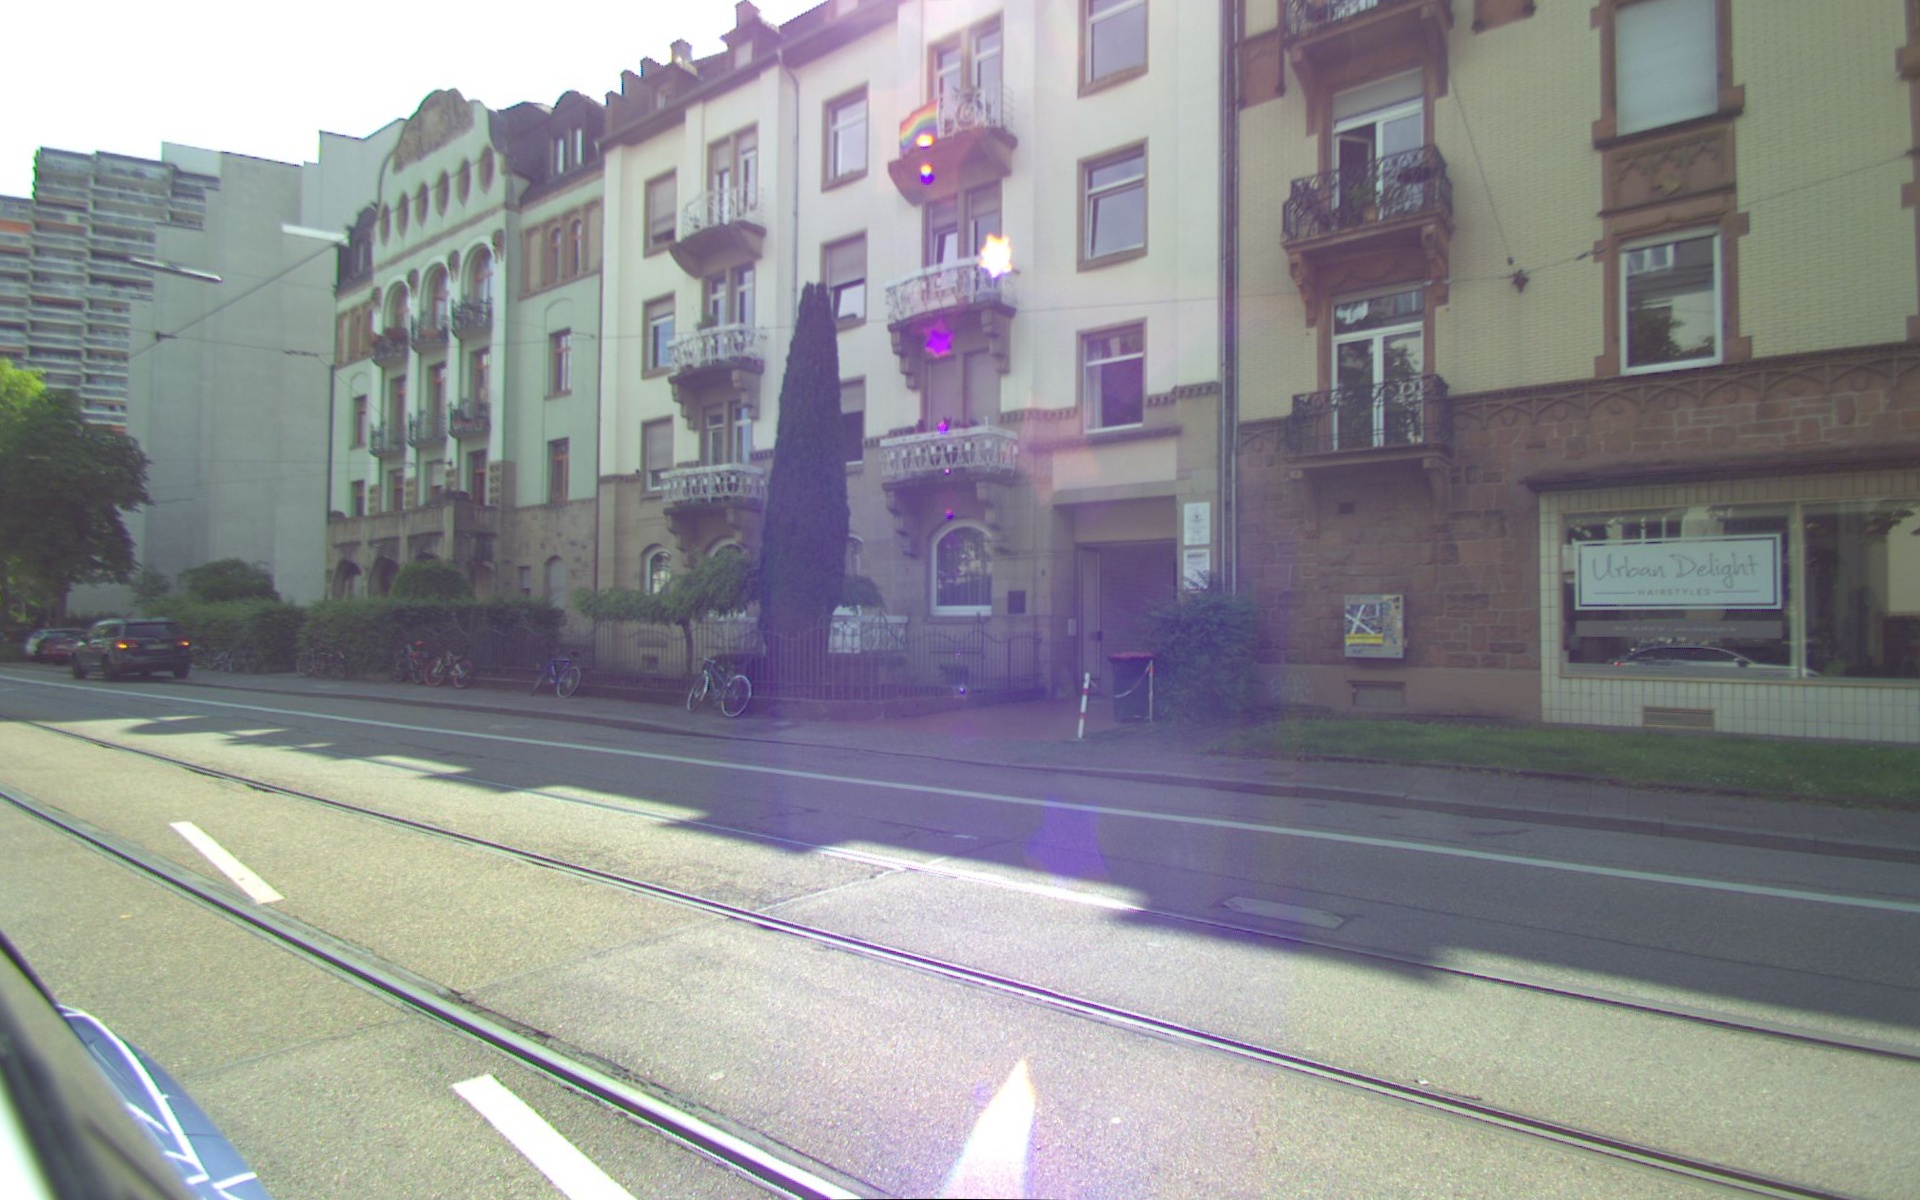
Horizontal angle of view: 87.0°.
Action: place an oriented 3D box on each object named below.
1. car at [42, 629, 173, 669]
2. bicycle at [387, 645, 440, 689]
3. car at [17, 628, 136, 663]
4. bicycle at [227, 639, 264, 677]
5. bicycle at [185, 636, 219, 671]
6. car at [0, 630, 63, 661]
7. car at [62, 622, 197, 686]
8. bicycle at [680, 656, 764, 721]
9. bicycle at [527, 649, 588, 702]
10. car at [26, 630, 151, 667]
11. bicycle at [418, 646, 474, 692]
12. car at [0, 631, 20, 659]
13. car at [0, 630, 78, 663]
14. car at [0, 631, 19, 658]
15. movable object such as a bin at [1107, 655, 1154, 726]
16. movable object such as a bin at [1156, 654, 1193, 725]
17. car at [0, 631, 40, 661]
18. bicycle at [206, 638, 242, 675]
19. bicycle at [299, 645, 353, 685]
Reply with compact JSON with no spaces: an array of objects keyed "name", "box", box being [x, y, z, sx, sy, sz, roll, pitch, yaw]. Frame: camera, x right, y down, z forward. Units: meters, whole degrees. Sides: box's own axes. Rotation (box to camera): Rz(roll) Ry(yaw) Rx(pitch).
[{"name":"car","box":[-34.440,1.972,40.951,3.939,1.519,2.002,2,-3,-42]},{"name":"bicycle","box":[-13.146,1.588,24.328,1.785,1.003,0.462,-1,-3,40]},{"name":"car","box":[-39.746,2.036,45.599,3.939,1.519,2.002,2,-3,-42]},{"name":"bicycle","box":[-22.009,1.770,31.168,1.785,1.144,0.462,-1,-3,40]},{"name":"bicycle","box":[-25.198,1.775,33.647,1.785,1.144,0.462,-1,-3,40]},{"name":"car","box":[-47.533,2.285,50.612,3.939,1.519,2.002,2,-3,-42]},{"name":"car","box":[-23.736,1.500,28.884,4.392,1.708,1.899,-1,-2,36]},{"name":"bicycle","box":[-4.045,1.472,17.100,0.461,1.003,1.980,2,-3,-43]},{"name":"bicycle","box":[-8.129,1.493,20.387,0.461,1.003,1.788,3,-3,-45]},{"name":"car","box":[-37.131,2.047,43.195,3.939,1.519,2.002,2,-3,-42]},{"name":"bicycle","box":[-11.725,1.557,23.070,1.785,1.003,0.462,-1,-3,40]},{"name":"car","box":[-52.920,2.387,54.022,3.939,1.519,2.002,2,-3,-42]},{"name":"car","box":[-45.070,2.215,48.643,3.939,1.519,2.002,2,-3,-42]},{"name":"car","box":[-55.118,2.457,56.317,3.939,1.519,2.002,2,-3,-42]},{"name":"movable object such as a bin","box":[2.599,1.365,15.383,0.697,1.037,0.475,0,-2,12]},{"name":"movable object such as a bin","box":[3.252,1.348,15.386,0.531,1.037,0.475,0,-2,10]},{"name":"car","box":[-50.221,2.366,52.251,3.939,1.519,2.002,2,-3,-42]},{"name":"bicycle","box":[-23.539,1.784,32.364,1.785,1.144,0.462,-1,-3,40]},{"name":"bicycle","box":[-16.628,1.680,26.527,1.979,1.003,0.597,-1,-3,40]}]
